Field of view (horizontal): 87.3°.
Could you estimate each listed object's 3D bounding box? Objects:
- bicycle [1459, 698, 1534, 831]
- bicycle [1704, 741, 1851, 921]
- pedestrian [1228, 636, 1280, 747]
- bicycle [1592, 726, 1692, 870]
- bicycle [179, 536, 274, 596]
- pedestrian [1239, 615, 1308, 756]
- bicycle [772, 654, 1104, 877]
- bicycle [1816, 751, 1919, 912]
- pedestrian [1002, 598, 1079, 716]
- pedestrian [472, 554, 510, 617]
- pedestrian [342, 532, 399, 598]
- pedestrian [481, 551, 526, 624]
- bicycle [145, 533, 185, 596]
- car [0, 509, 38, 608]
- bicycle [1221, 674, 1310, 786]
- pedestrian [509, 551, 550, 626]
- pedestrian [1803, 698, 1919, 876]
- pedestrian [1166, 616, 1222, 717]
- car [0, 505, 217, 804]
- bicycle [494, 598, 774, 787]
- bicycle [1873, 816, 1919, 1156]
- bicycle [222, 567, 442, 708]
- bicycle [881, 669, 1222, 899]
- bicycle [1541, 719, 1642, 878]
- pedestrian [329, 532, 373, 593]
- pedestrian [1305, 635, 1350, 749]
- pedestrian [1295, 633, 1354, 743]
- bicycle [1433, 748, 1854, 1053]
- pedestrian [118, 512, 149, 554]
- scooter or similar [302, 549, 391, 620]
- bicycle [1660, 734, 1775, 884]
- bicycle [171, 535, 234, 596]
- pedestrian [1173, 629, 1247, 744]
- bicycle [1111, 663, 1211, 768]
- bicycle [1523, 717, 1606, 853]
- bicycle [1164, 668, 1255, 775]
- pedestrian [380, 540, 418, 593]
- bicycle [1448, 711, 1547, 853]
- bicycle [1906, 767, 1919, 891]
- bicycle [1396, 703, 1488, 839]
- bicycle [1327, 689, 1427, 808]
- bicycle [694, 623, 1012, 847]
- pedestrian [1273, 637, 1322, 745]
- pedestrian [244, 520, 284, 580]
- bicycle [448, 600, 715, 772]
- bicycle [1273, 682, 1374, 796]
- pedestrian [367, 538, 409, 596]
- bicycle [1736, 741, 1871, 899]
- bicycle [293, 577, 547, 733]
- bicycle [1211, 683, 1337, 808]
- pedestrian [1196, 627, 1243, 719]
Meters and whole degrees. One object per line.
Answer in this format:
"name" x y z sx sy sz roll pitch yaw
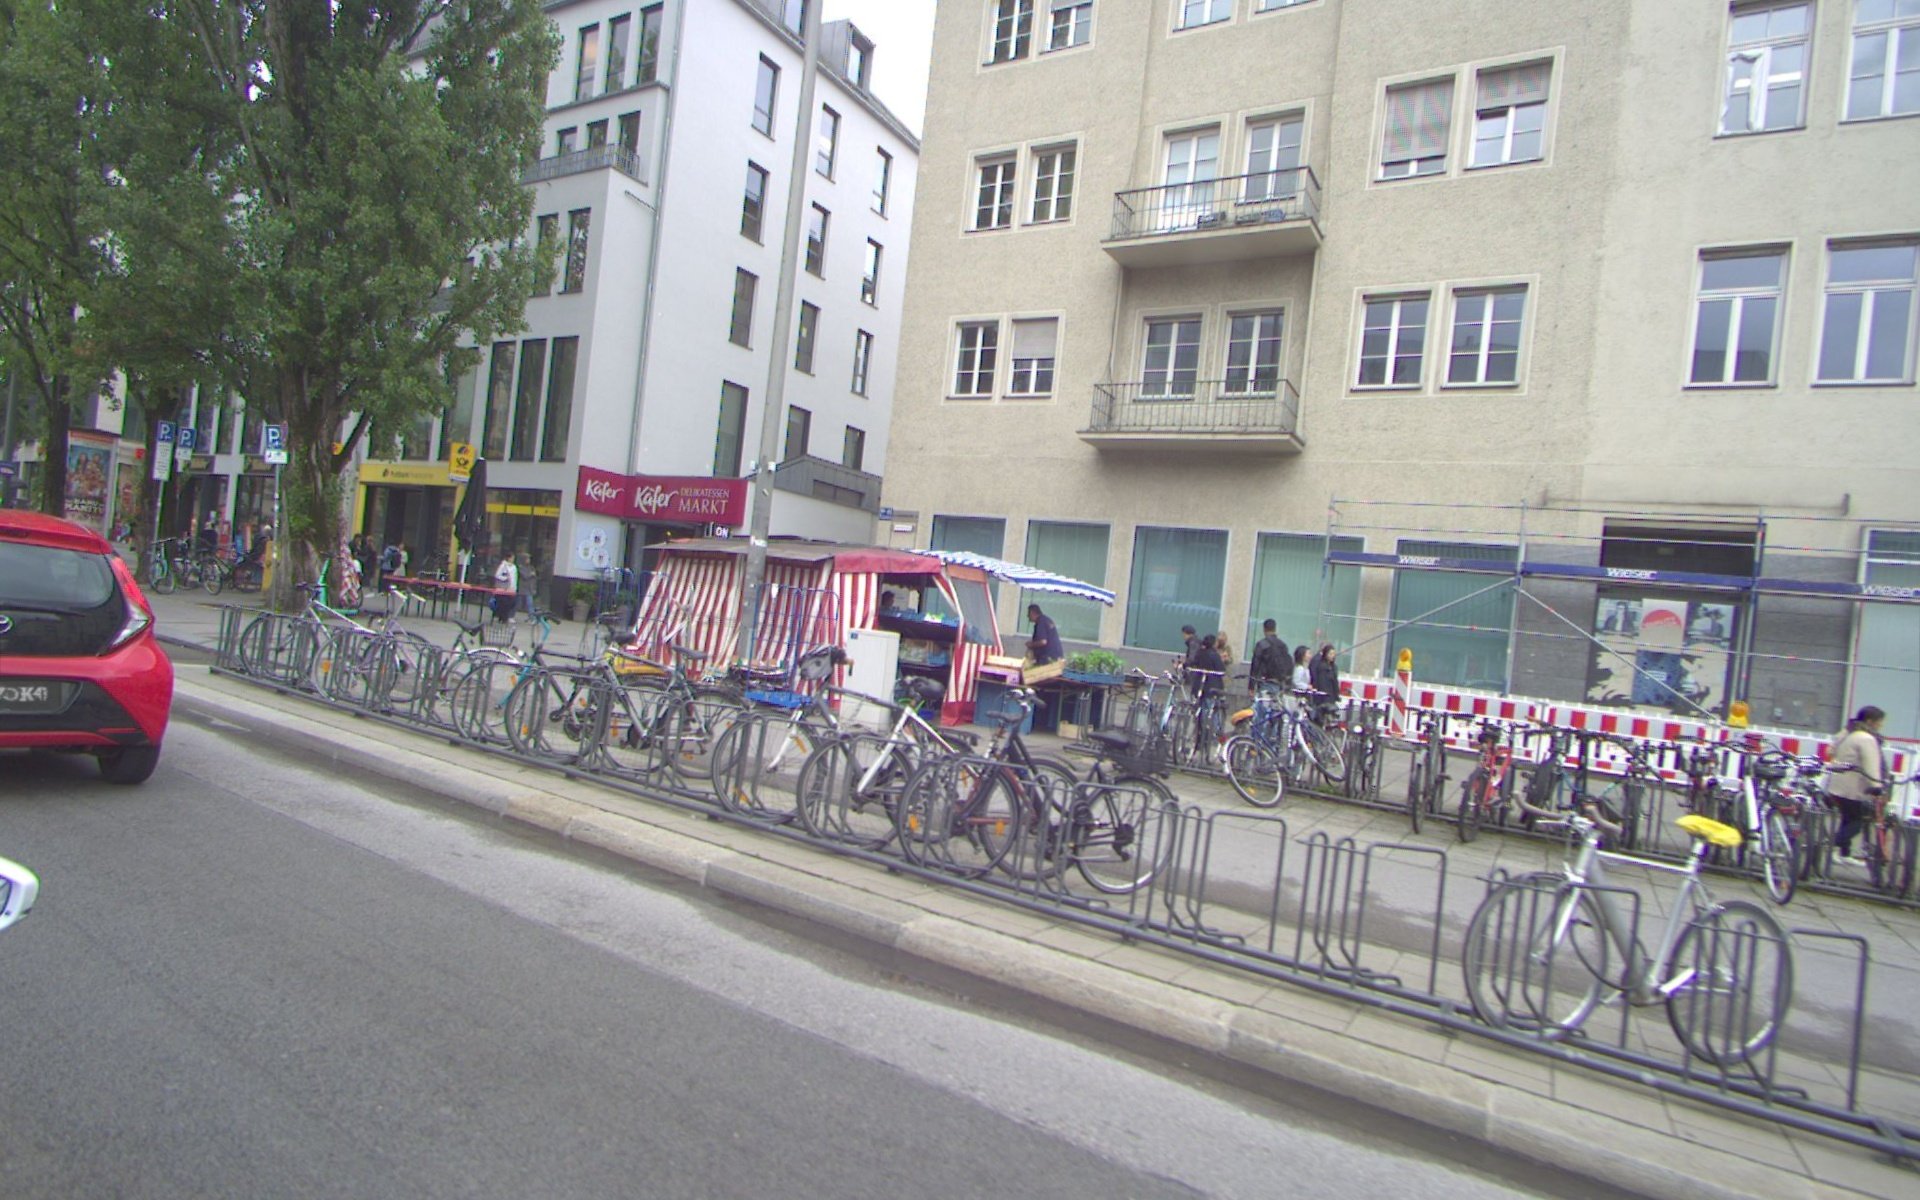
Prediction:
"bicycle" 5.430 1.621 10.240 0.403 1.117 1.633 6 0 22
"bicycle" 6.312 1.734 7.837 0.403 1.091 1.452 6 1 23
"pedestrian" 4.405 1.356 15.115 0.542 1.585 0.654 6 1 13
"bicycle" 6.356 1.804 9.431 0.403 1.091 1.452 6 1 23
"bicycle" -17.008 -0.778 23.352 0.696 1.174 1.624 7 -1 45
"pedestrian" 4.405 1.181 14.149 0.716 1.852 0.717 6 1 18
"bicycle" -0.119 0.972 5.892 1.776 1.021 0.385 10 -2 -16
"bicycle" 7.875 1.927 8.546 0.403 1.091 1.534 6 1 24
"pedestrian" 1.238 0.865 15.428 0.717 1.694 0.794 7 1 31
"pedestrian" -11.825 -0.352 25.395 0.640 1.494 0.757 7 -1 -20
"pedestrian" -16.268 -0.962 27.757 1.005 1.657 0.801 6 1 25
"pedestrian" -10.689 -0.291 23.543 0.626 1.604 0.641 7 1 40
"bicycle" -16.491 -0.747 20.855 0.475 1.174 1.804 6 0 -41
"car" -16.515 -0.875 16.103 4.084 1.470 1.727 6 -3 36
"bicycle" 3.438 1.409 11.234 0.403 1.117 1.629 6 1 34
"pedestrian" -10.357 -0.271 24.190 0.588 1.723 0.578 7 2 40
"pedestrian" 8.973 1.823 9.968 0.526 1.602 0.662 6 1 8
"pedestrian" 4.126 1.156 17.731 0.750 1.671 0.603 6 1 18
"car" -6.152 0.139 5.921 3.539 1.463 1.667 5 -2 34
"bicycle" -2.402 0.697 7.534 1.778 1.117 0.544 11 -2 -20
"bicycle" 4.002 1.410 3.470 1.778 1.070 0.396 11 -2 -20
"bicycle" -5.929 0.359 9.595 1.555 1.066 0.544 10 -2 -20
"bicycle" 0.534 1.040 5.629 1.778 1.021 0.384 11 -2 -20
"bicycle" 5.336 1.631 8.560 0.403 1.091 1.452 6 1 23
"pedestrian" -17.931 -1.108 29.626 0.785 1.670 0.691 7 1 32
"pedestrian" 5.713 1.424 15.631 0.464 1.692 0.526 6 -1 23
"pedestrian" 5.865 1.411 16.185 0.535 1.694 0.501 7 -1 -29
"bicycle" 2.861 1.261 4.168 1.778 1.021 0.384 11 -2 -20
"pedestrian" -33.260 -2.678 40.471 0.664 1.596 0.565 6 1 9
"scooter or similar" -11.370 -0.270 18.683 0.393 1.223 1.470 6 0 14
"bicycle" 6.878 1.857 9.193 0.403 1.091 1.452 6 1 23
"bicycle" -16.558 -0.759 21.970 1.607 1.174 0.478 7 0 33
"pedestrian" 3.627 1.239 14.585 0.718 1.547 0.677 7 1 34
"bicycle" 2.390 1.325 11.834 0.404 1.117 1.628 6 1 37
"bicycle" 5.909 1.769 9.889 0.403 1.091 1.452 6 1 23
"bicycle" 2.928 1.366 11.688 0.403 1.117 1.629 6 1 34
"pedestrian" -17.511 -1.055 31.401 0.699 1.554 0.763 7 1 42
"bicycle" 4.801 1.571 8.945 0.404 1.091 1.446 6 1 39
"bicycle" 8.478 2.014 8.304 0.403 1.091 1.452 6 1 23
"bicycle" 4.488 1.538 9.324 0.404 1.091 1.477 6 1 37
"bicycle" 4.424 1.521 10.614 0.404 1.117 1.626 6 1 40
"bicycle" -0.665 0.858 6.354 1.778 1.117 0.544 11 -2 -20
"pedestrian" 5.135 1.375 15.281 0.458 1.558 0.560 6 -1 29
"pedestrian" -21.140 -1.511 30.552 0.711 1.746 0.736 5 1 -21
"bicycle" -2.919 0.683 7.884 1.778 1.066 0.366 11 -2 -20
"bicycle" 4.018 1.489 11.047 0.404 1.117 1.626 6 1 40
"pedestrian" -16.900 -0.980 29.726 0.760 1.605 0.691 7 1 32
"bicycle" 7.391 1.882 8.878 0.403 1.091 1.534 6 1 24
"bicycle" -4.688 0.493 8.872 1.778 1.066 0.544 11 -2 -20
"bicycle" 3.078 1.387 9.784 1.464 1.091 0.405 5 1 -43
"pedestrian" 4.839 1.348 18.745 0.598 1.623 0.465 7 1 29
